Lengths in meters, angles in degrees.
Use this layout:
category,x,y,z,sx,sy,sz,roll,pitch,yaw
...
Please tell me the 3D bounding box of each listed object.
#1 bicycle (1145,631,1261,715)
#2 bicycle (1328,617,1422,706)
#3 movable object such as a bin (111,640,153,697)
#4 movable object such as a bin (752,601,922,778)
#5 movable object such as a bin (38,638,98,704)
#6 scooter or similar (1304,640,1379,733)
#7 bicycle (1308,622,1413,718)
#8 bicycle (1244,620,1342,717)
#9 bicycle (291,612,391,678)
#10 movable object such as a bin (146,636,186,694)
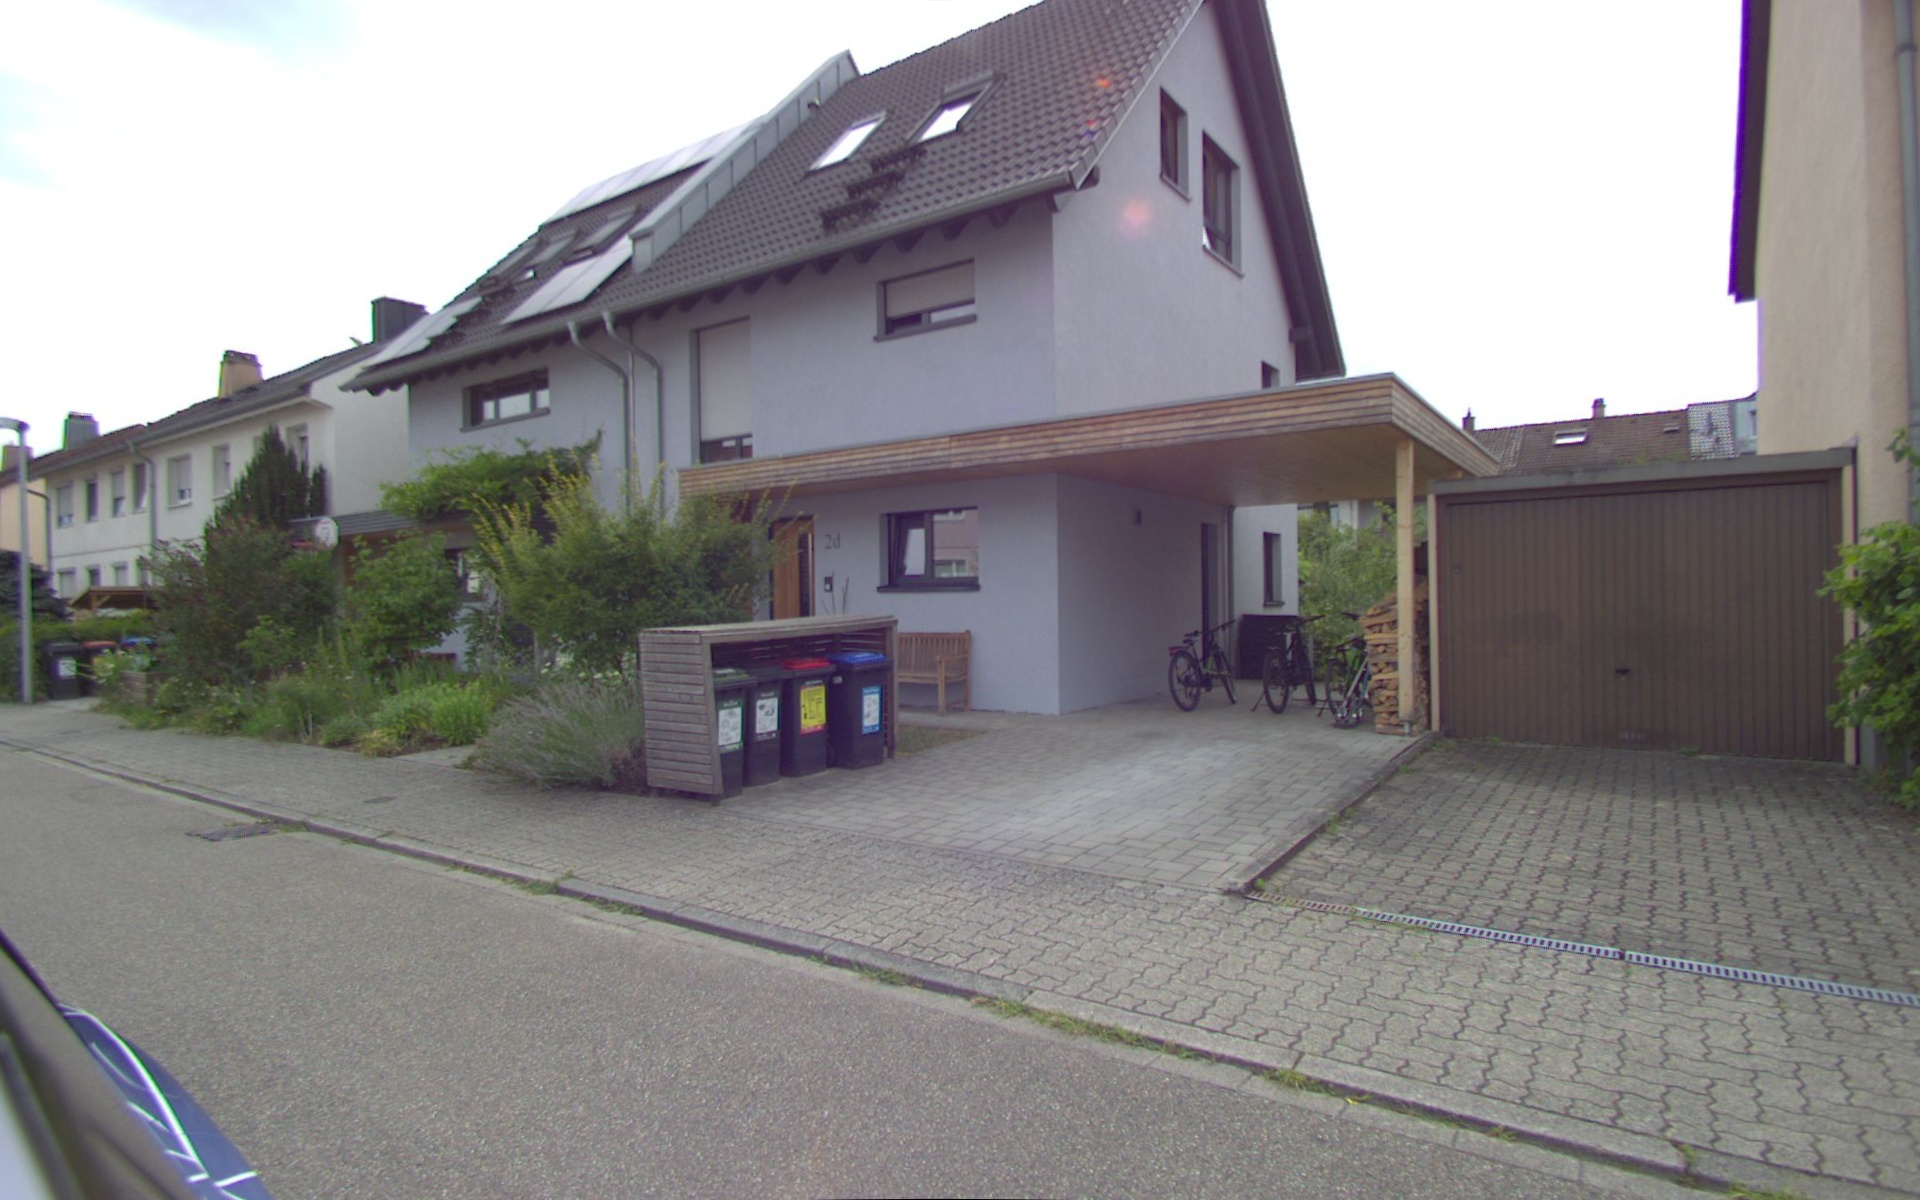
category,x,y,z,sx,sy,sz,roll,pitch,yaw
bicycle,2.779,0.788,11.450,0.357,0.855,1.908,-2,-2,44
bicycle,5.044,0.712,12.246,0.357,0.960,1.908,-2,0,44
movable object such as a bin,-14.434,1.184,17.644,0.466,0.963,0.462,-1,-1,36
movable object such as a bin,-1.021,0.702,8.462,0.998,1.322,0.942,-1,2,34
movable object such as a bin,-15.010,1.178,17.025,0.663,1.035,0.597,-1,1,36
scooter or similar,3.681,0.804,9.721,0.362,0.803,1.291,-1,-1,35
bicycle,4.424,0.727,11.104,0.357,0.960,1.908,-2,-2,44
bicycle,3.749,0.722,11.304,0.356,0.960,1.911,-1,-1,40
bicycle,-12.334,0.875,20.218,0.423,1.158,1.800,-1,2,20
movable object such as a bin,-14.142,1.151,18.019,0.466,1.011,0.443,-1,-1,36
